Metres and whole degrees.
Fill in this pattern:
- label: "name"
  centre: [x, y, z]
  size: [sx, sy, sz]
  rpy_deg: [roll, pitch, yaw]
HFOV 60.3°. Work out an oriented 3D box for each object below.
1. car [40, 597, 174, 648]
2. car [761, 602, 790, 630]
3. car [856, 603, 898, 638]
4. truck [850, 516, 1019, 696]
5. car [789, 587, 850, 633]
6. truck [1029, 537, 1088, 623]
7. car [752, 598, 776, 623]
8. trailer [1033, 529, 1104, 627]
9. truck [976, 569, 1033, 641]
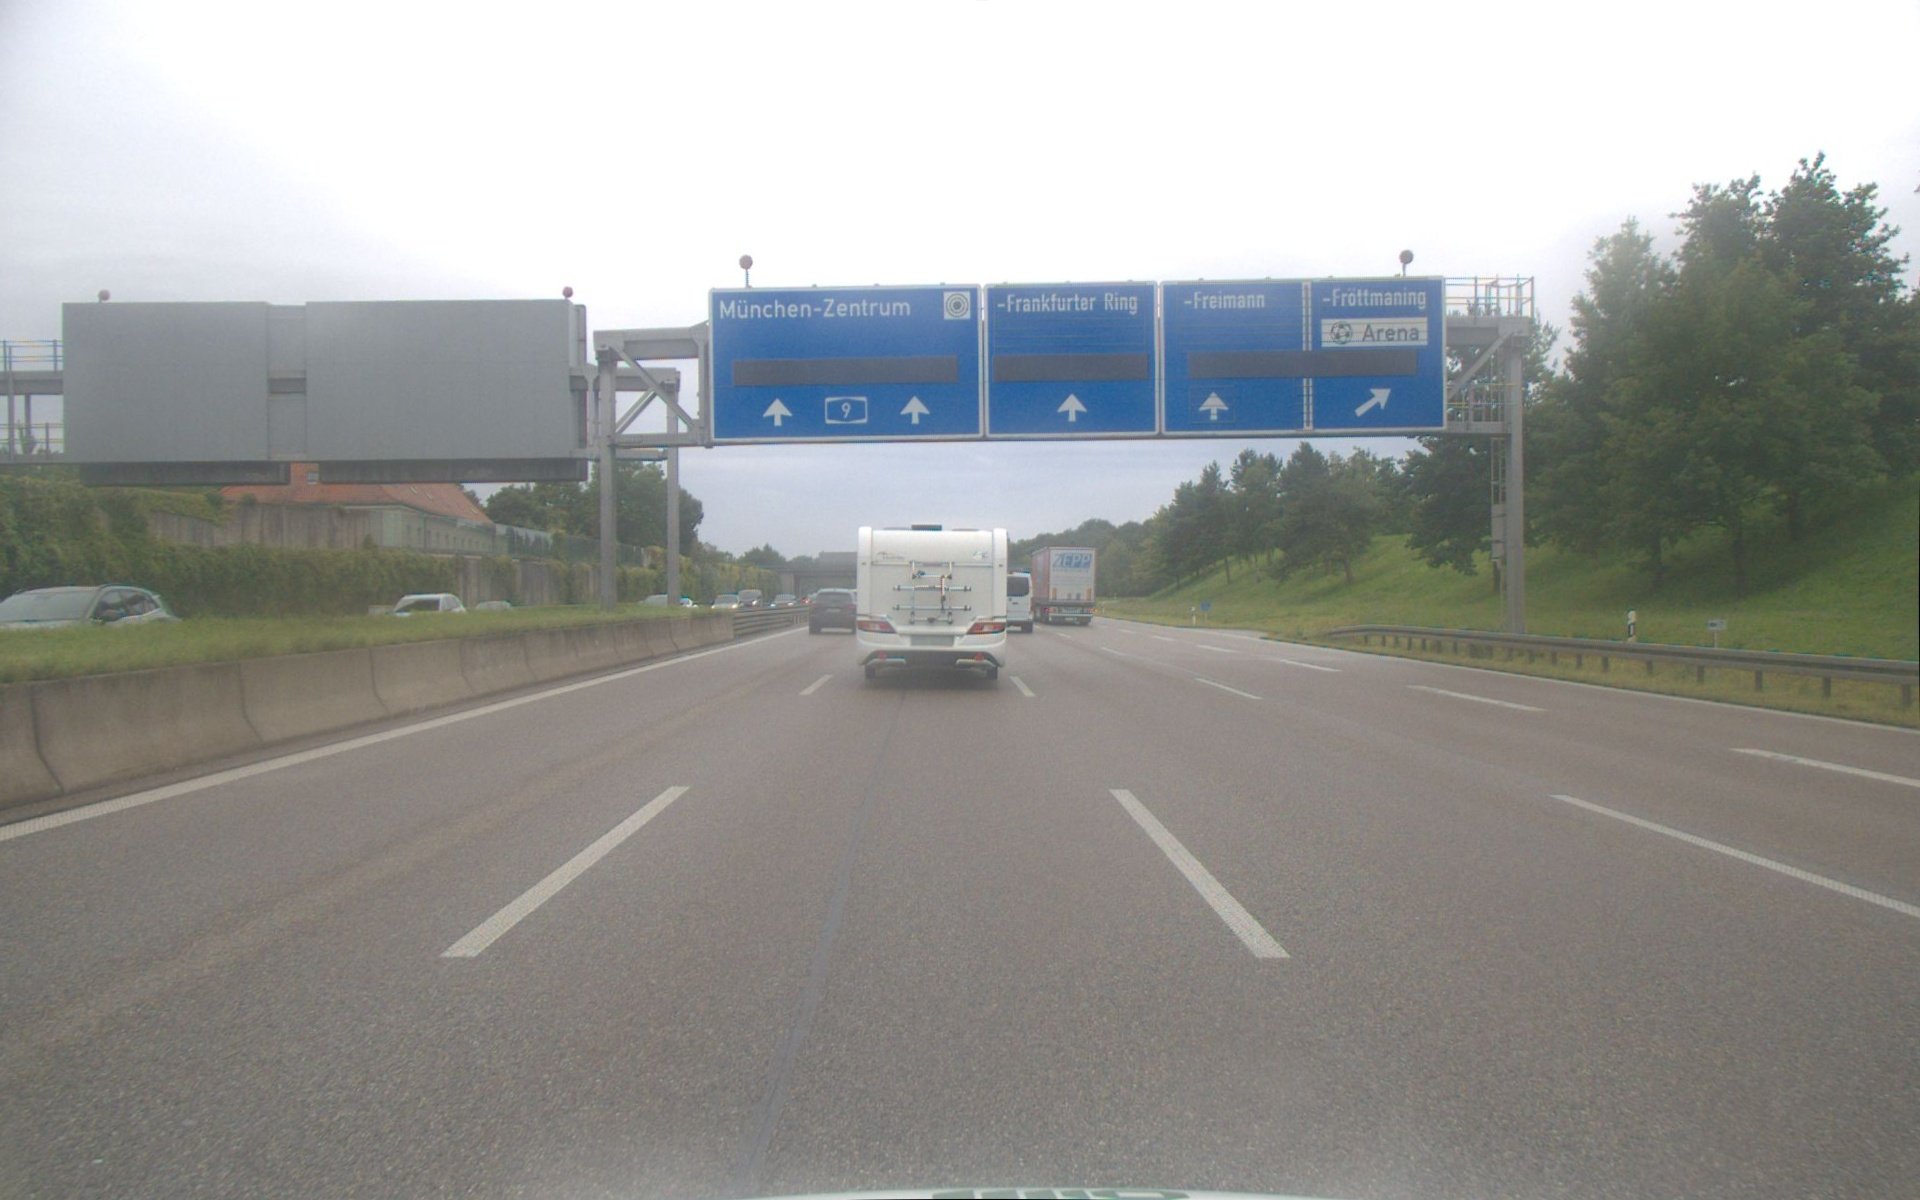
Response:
- label: "car"
  centre: [-19.803, 0.495, 38.524]
  size: [1.573, 1.115, 3.273]
  rpy_deg: [0, 0, -4]
- label: "car"
  centre: [-14.070, 1.191, 126.294]
  size: [1.816, 2.049, 3.851]
  rpy_deg: [1, 0, -1]
- label: "car"
  centre: [-4.489, 1.098, 89.641]
  size: [2.085, 1.736, 4.111]
  rpy_deg: [3, -1, -2]
- label: "truck"
  centre: [-0.457, 0.104, 28.497]
  size: [2.607, 2.790, 5.076]
  rpy_deg: [1, 0, -1]
- label: "car"
  centre: [-5.249, 0.380, 62.473]
  size: [1.953, 1.628, 5.122]
  rpy_deg: [1, 0, -1]
- label: "truck"
  centre: [5.798, -1.125, 98.375]
  size: [2.986, 4.924, 5.849]
  rpy_deg: [1, 0, -1]
- label: "car"
  centre: [-16.864, 0.907, 142.443]
  size: [1.674, 2.049, 3.597]
  rpy_deg: [1, 0, -1]
- label: "trailer"
  centre: [5.832, -1.124, 90.919]
  size: [3.036, 5.008, 11.789]
  rpy_deg: [1, 0, 0]
- label: "truck"
  centre: [1.807, 0.211, 68.835]
  size: [2.012, 2.818, 5.547]
  rpy_deg: [1, 0, -1]
